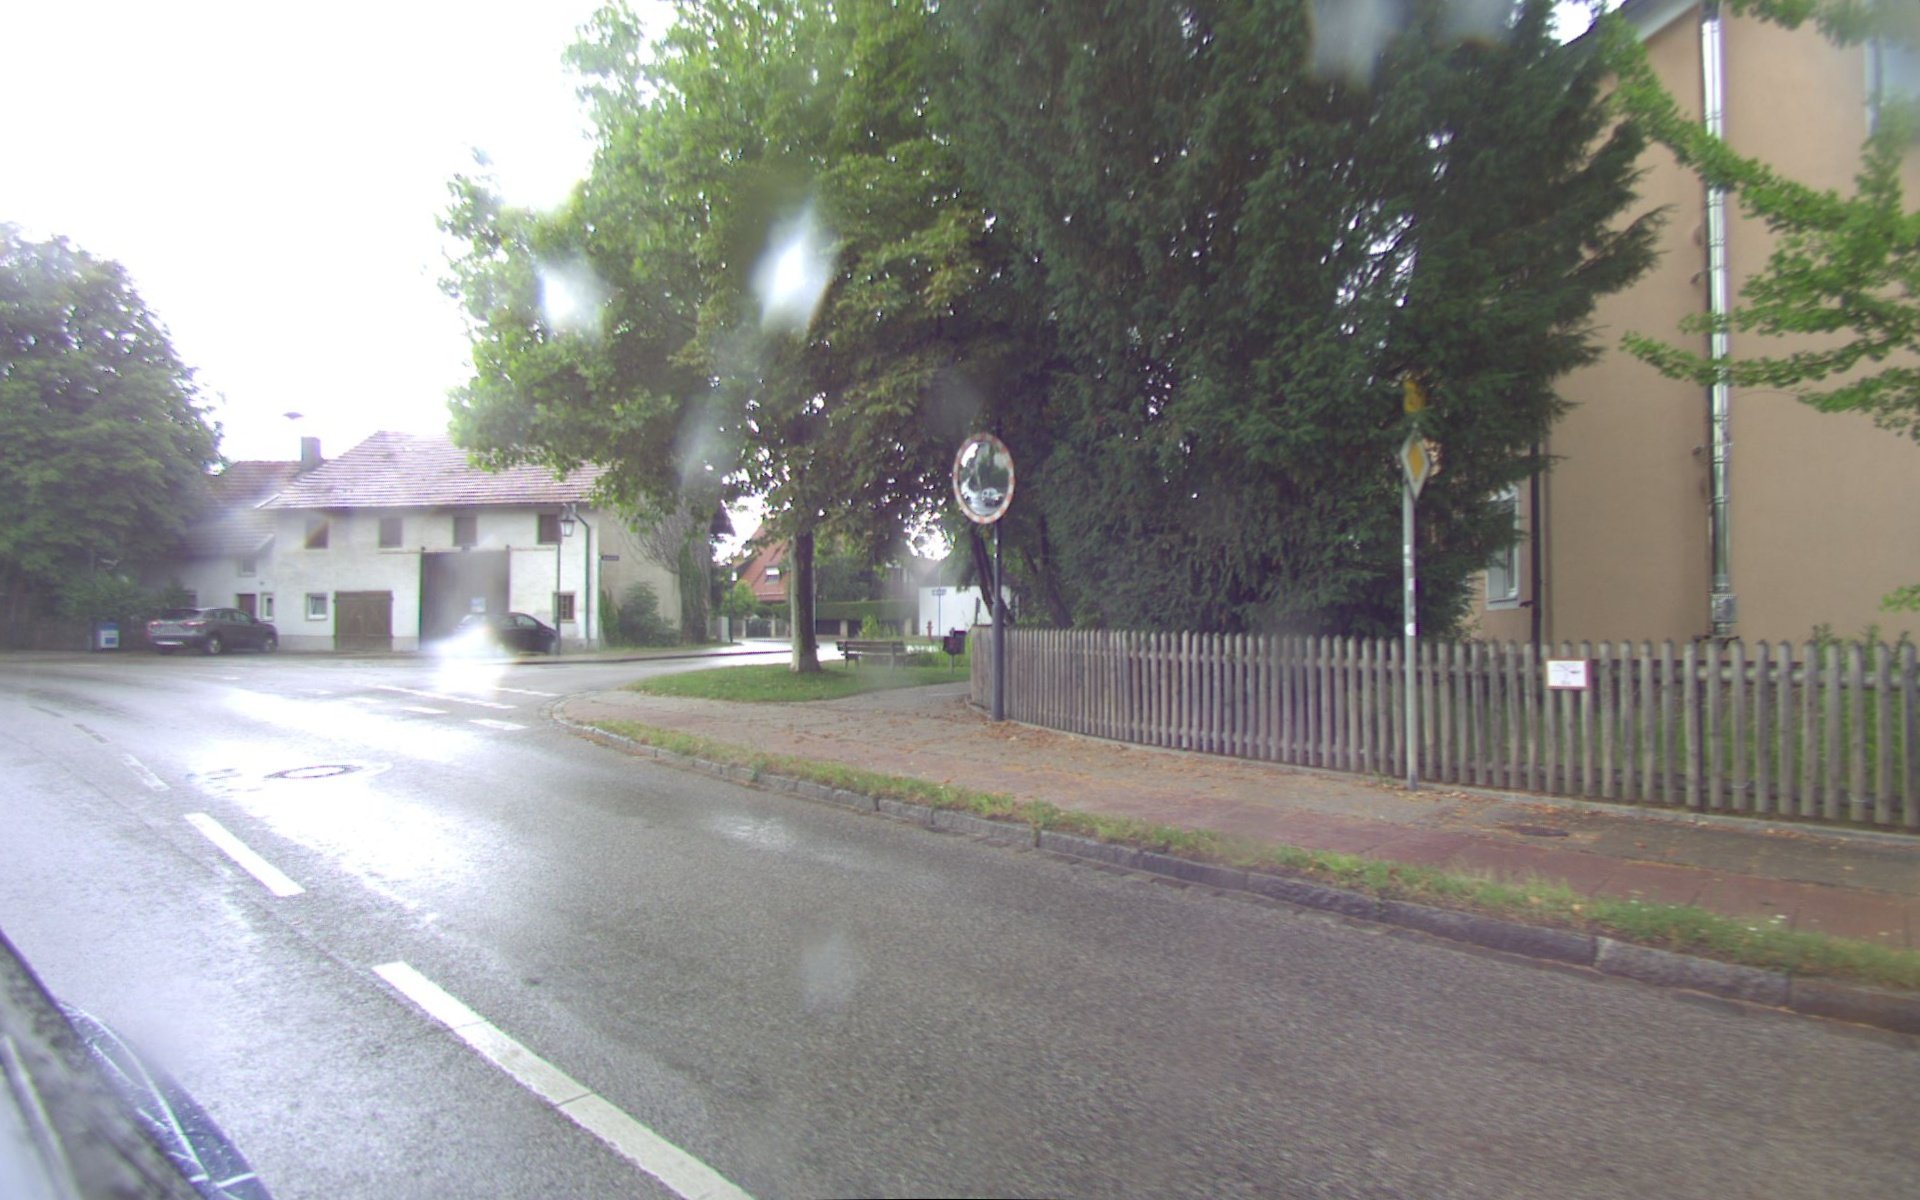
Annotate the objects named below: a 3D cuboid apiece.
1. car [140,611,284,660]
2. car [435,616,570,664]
[{"bbox_3d":[-25.234,1.224,34.356,1.791,1.560,4.283,0,-3,-2],"label":"car"},{"bbox_3d":[-14.654,1.239,32.704,1.802,1.447,4.264,0,-1,12],"label":"car"}]
